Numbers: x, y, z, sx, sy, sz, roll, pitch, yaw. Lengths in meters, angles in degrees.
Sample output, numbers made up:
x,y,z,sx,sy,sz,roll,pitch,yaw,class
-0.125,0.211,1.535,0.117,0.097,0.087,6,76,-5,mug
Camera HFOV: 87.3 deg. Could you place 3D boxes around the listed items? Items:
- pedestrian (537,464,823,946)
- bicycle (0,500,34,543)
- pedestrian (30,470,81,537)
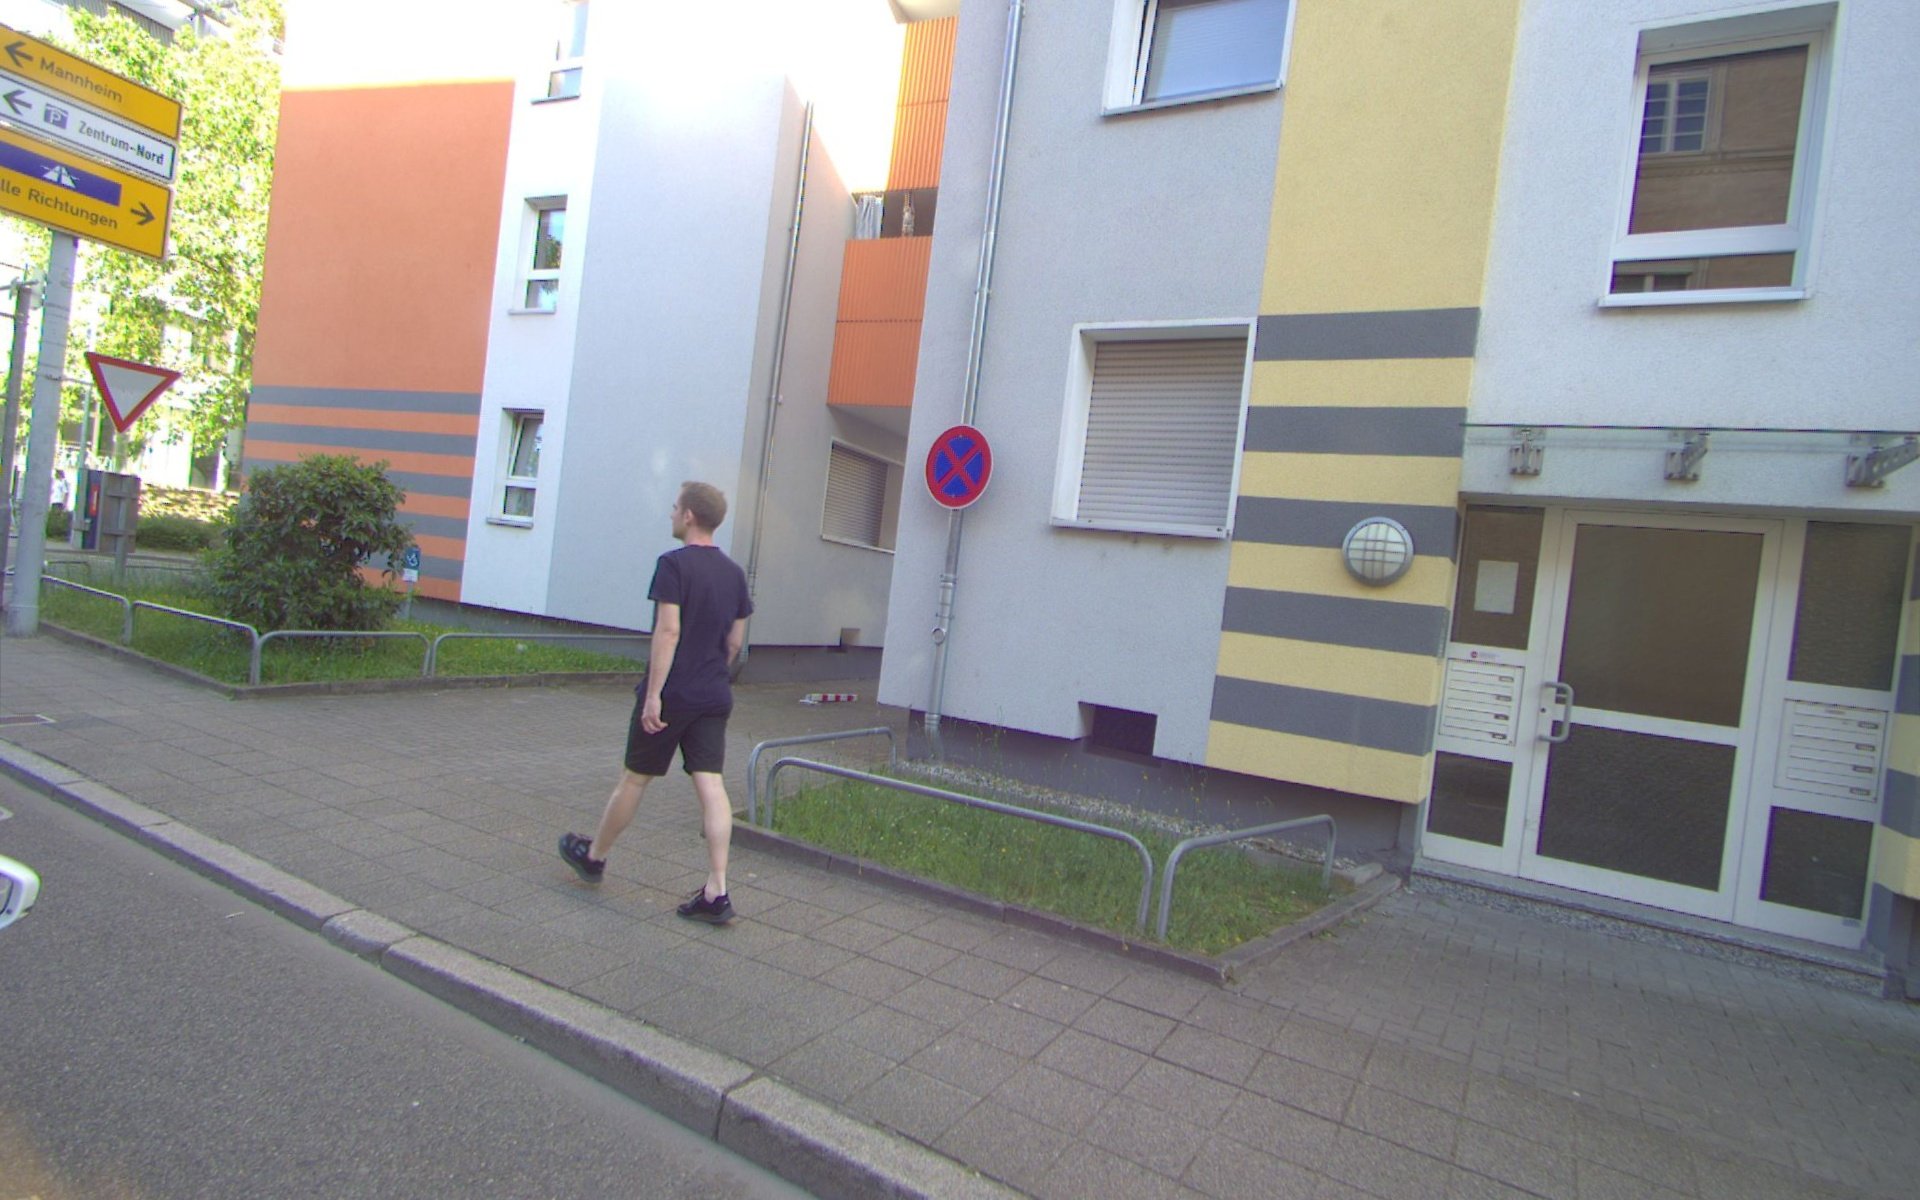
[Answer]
x,y,z,sx,sy,sz,roll,pitch,yaw,class
-1.205,0.380,4.310,0.901,1.813,0.643,7,4,35,pedestrian
-26.422,-2.219,27.283,1.883,1.062,0.463,7,1,-10,bicycle
-27.347,-2.916,30.423,1.021,1.854,0.539,7,1,14,pedestrian
